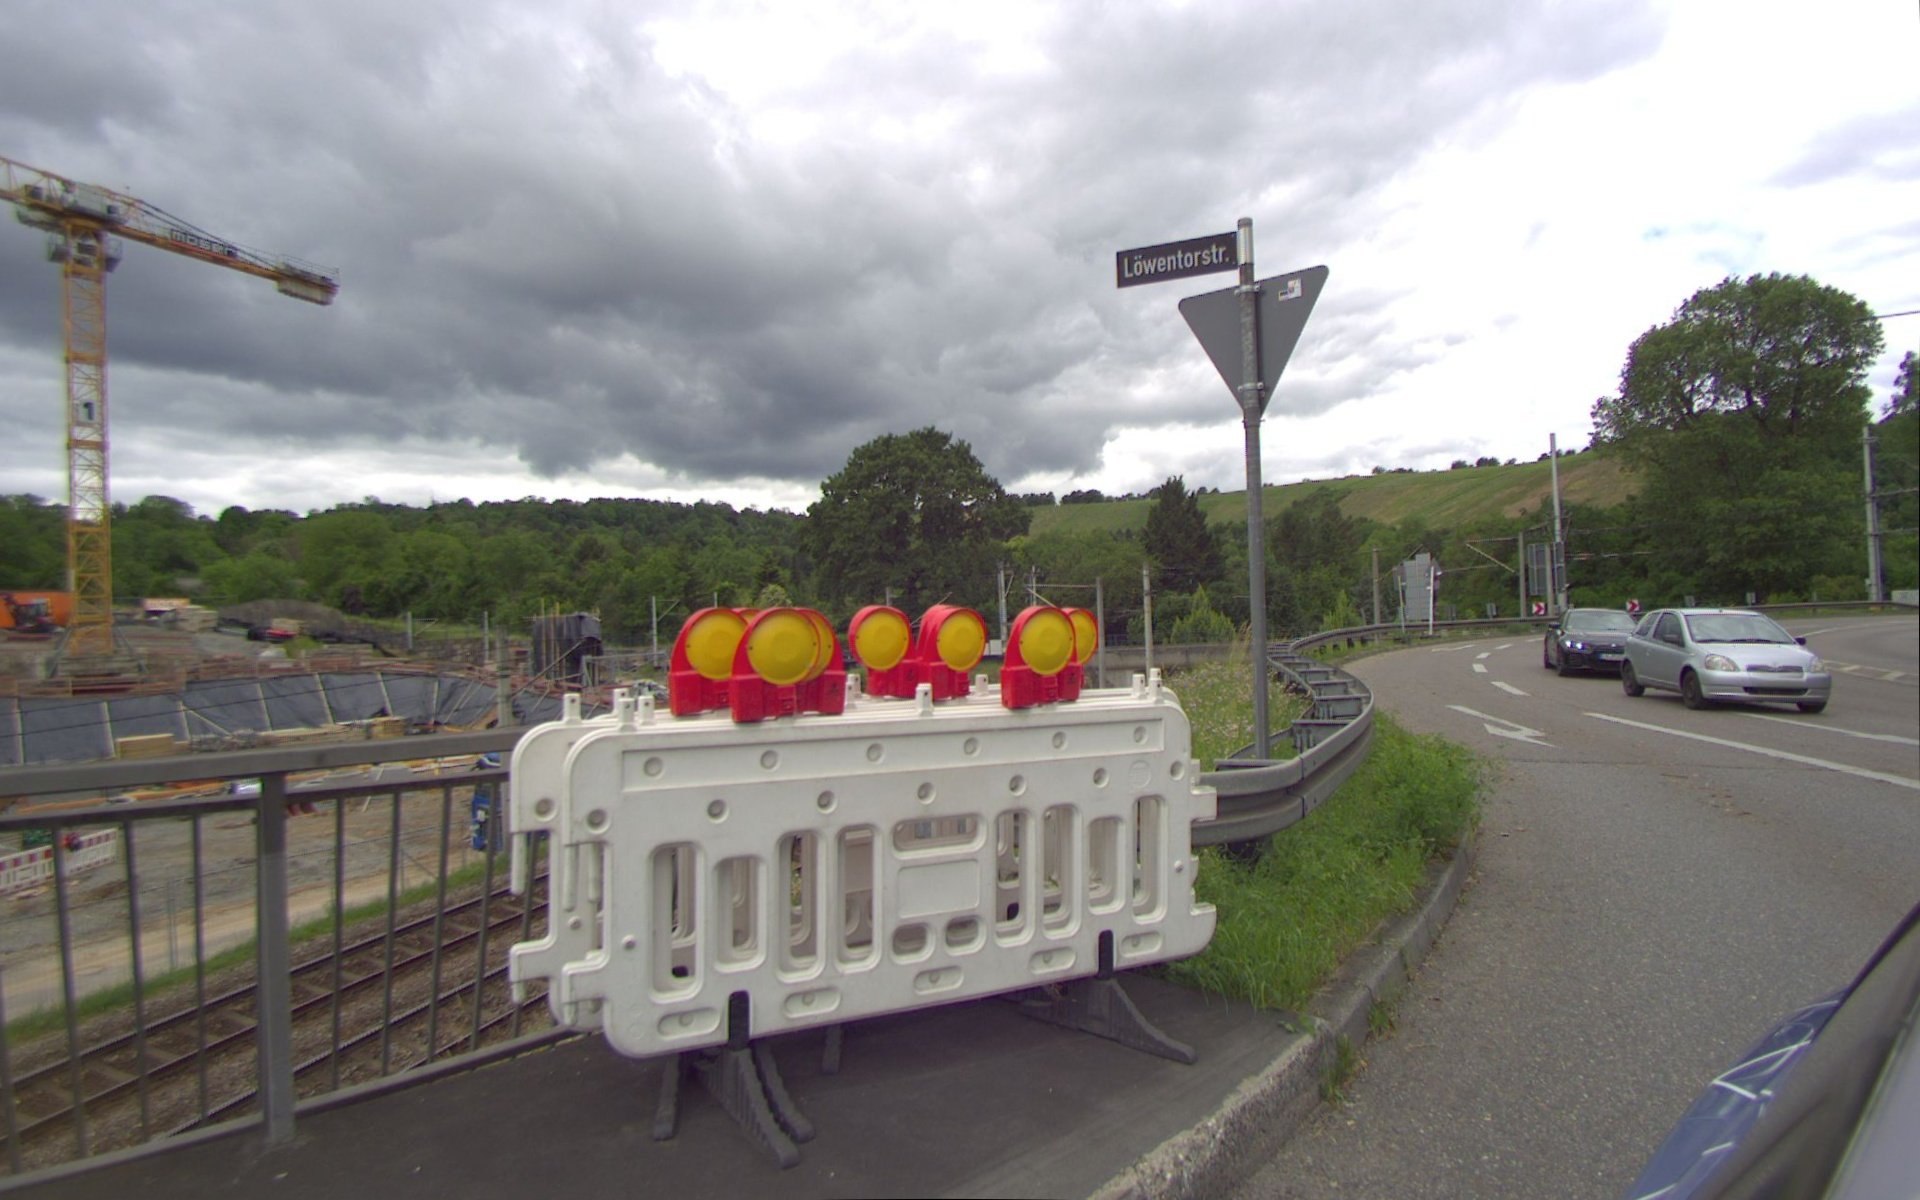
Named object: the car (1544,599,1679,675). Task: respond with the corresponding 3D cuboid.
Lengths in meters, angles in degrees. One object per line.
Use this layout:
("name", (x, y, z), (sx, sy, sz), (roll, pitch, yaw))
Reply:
("car", (14.477, 0.731, 22.769), (1.859, 1.495, 4.922), (0, 0, 25))

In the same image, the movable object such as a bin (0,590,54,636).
("movable object such as a bin", (-66.065, 0.905, 71.525), (2.749, 3.116, 1.840), (-3, 0, -36))

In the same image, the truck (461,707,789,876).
("truck", (-10.890, 6.111, 34.809), (2.826, 3.944, 11.479), (-3, -2, 33))

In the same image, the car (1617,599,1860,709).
("car", (11.843, 0.741, 15.709), (1.649, 1.488, 3.612), (-1, 0, 14))
